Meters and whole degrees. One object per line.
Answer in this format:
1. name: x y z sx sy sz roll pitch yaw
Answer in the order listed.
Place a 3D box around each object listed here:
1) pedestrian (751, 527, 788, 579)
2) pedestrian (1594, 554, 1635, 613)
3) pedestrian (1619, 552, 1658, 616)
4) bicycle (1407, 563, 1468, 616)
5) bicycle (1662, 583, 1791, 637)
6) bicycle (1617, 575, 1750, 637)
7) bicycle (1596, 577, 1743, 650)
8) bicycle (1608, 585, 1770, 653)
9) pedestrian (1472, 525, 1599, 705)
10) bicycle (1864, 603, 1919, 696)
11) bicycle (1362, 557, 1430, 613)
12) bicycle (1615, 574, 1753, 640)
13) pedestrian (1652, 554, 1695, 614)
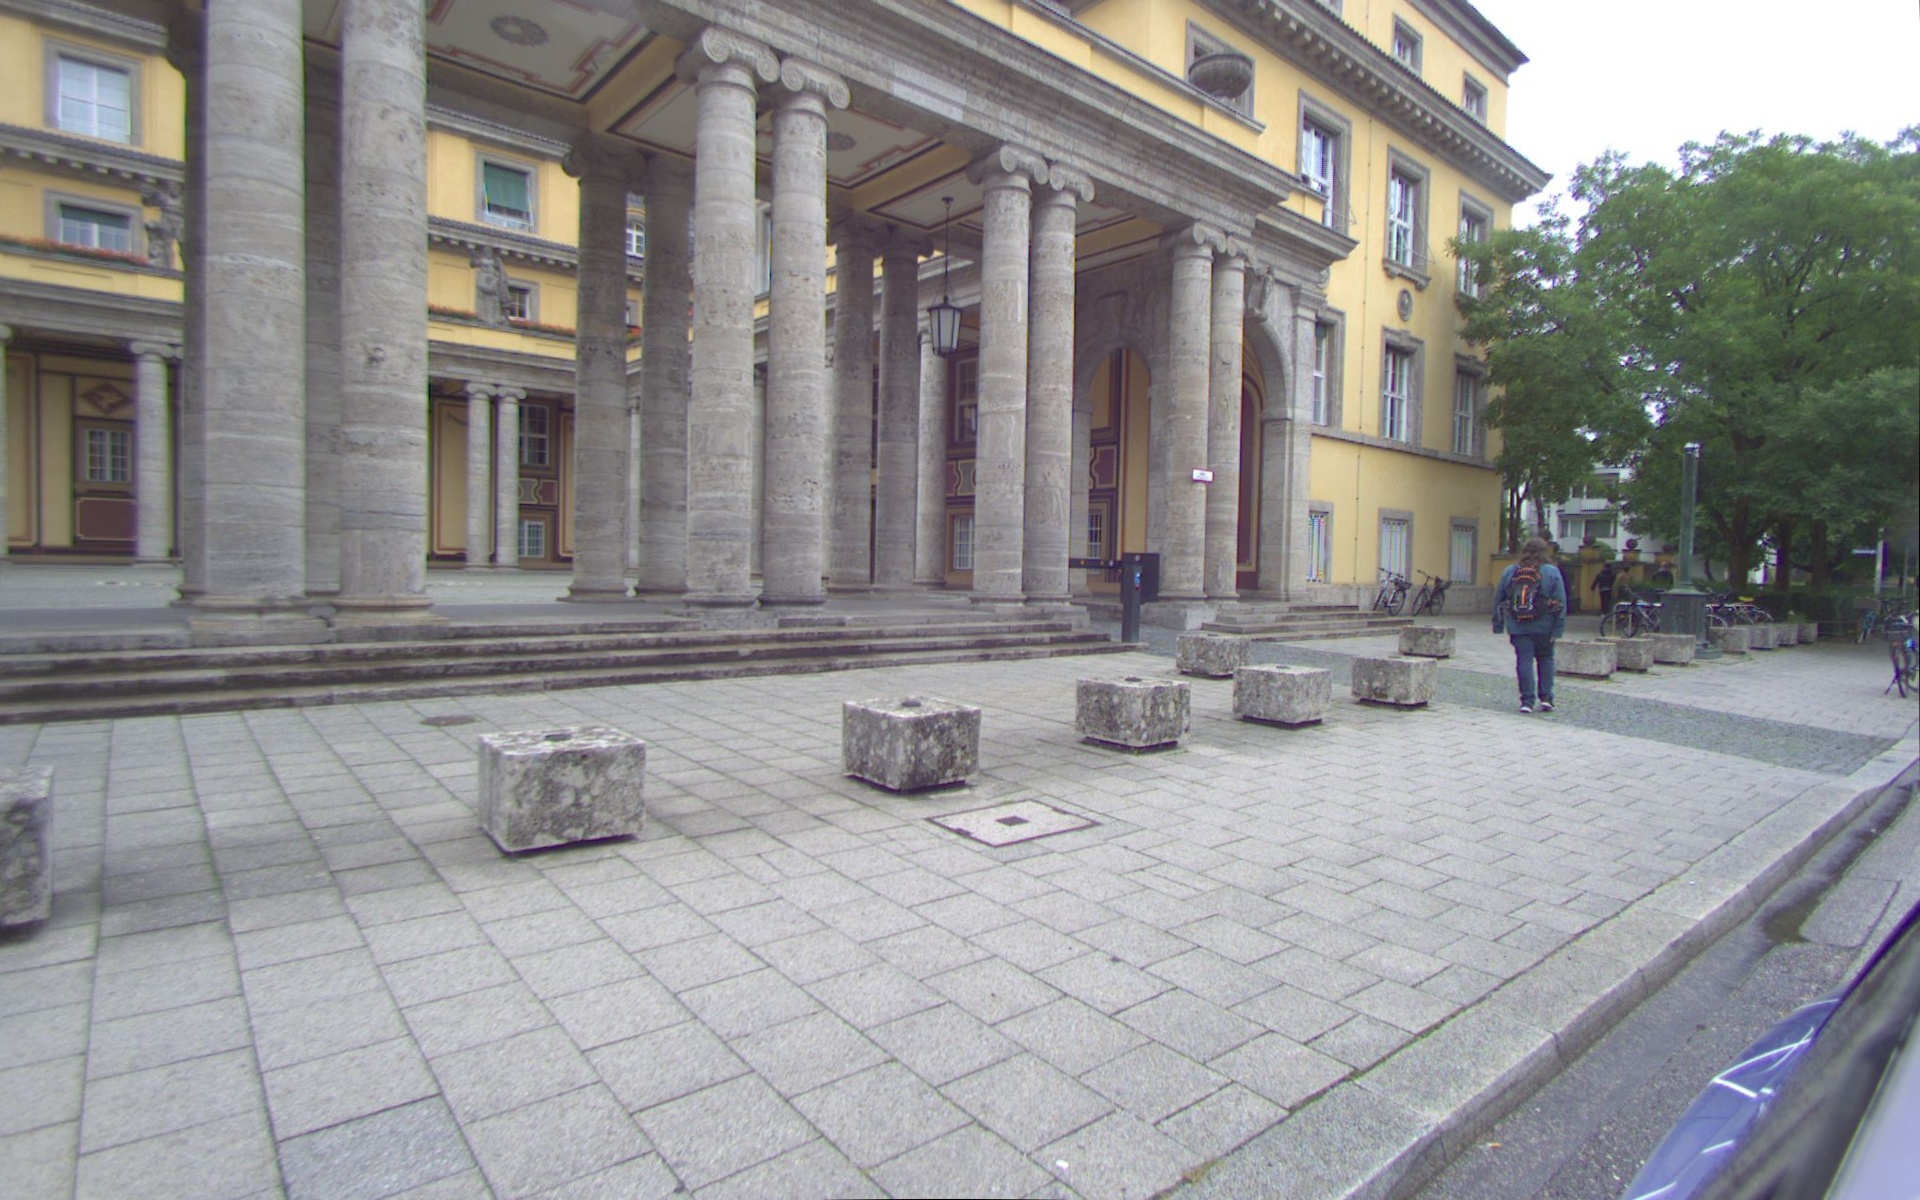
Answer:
1. pedestrian: -6.543 -1.604 34.762 0.968 1.742 0.805 -1 0 -42
2. pedestrian: 20.470 -0.521 31.665 0.827 1.764 0.741 -1 6 -41
3. pedestrian: 20.760 -0.491 30.975 0.806 1.887 0.659 -1 6 -41
4. bicycle: 12.566 -0.283 26.593 2.127 1.323 0.601 -1 3 -41
5. bicycle: 17.732 0.216 23.471 0.591 1.023 2.264 1 4 -38
6. bicycle: 15.926 0.100 22.331 2.256 1.035 0.593 10 8 39
7. bicycle: 14.116 0.233 20.187 2.256 1.107 0.593 10 8 39
8. bicycle: 13.691 0.319 19.063 2.362 1.018 0.668 7 5 41
9. pedestrian: 5.998 0.121 10.546 1.037 1.767 0.789 0 3 -41
10. bicycle: 13.037 0.640 13.778 2.225 1.113 0.762 -1 5 -42
11. bicycle: 10.820 -0.379 25.070 2.224 1.323 0.601 -1 3 -41
12. bicycle: 15.393 0.111 21.572 2.256 1.071 0.593 10 8 39
13. pedestrian: 23.379 -0.525 33.162 1.017 1.887 0.782 -1 6 -41
